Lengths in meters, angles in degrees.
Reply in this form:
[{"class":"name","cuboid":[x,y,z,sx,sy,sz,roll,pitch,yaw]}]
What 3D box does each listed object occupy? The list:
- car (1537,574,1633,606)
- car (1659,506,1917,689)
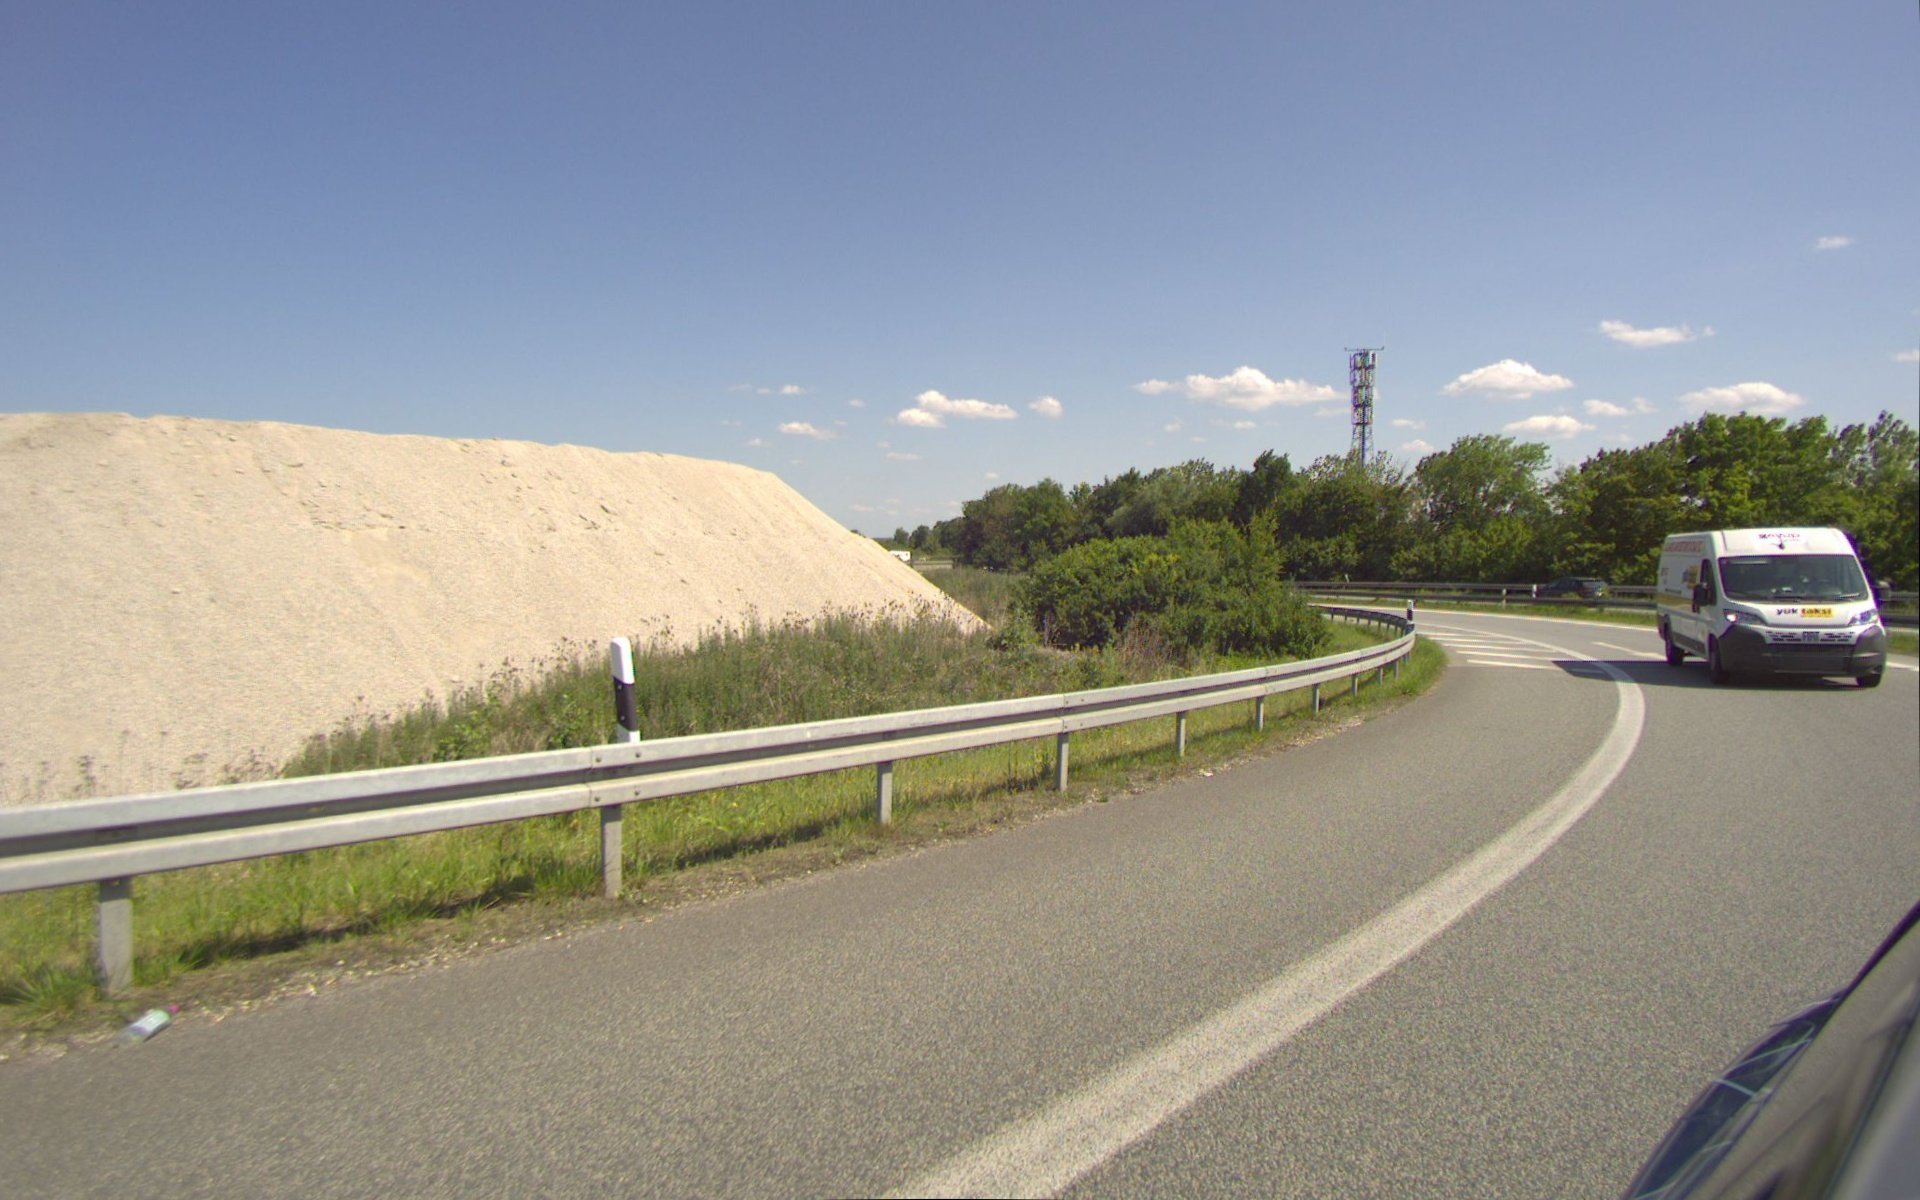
[{"class":"car","cuboid":[30.915,-0.488,50.237,1.765,1.466,4.704,-1,1,-1]},{"class":"car","cuboid":[13.776,-0.138,17.334,2.068,2.555,6.181,-2,2,27]}]
